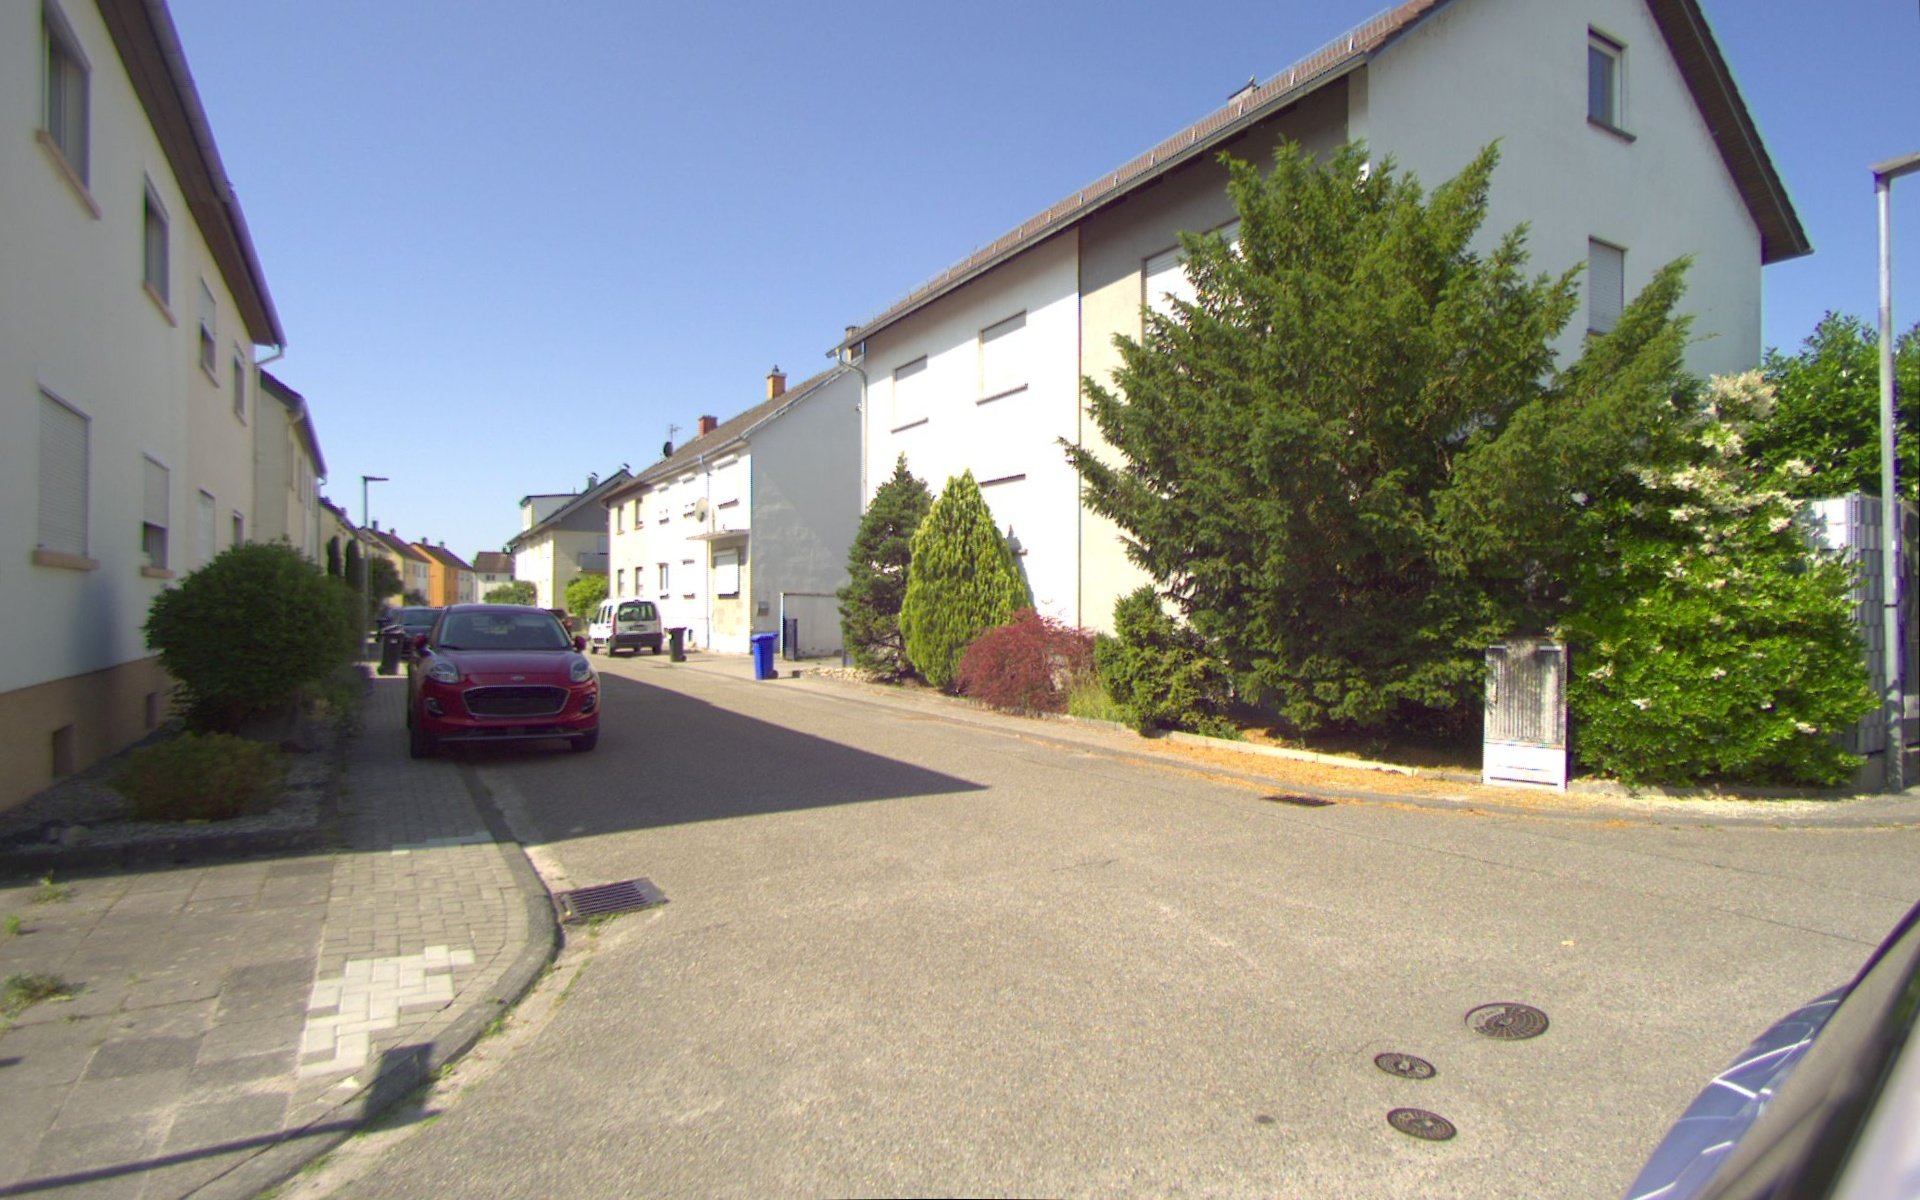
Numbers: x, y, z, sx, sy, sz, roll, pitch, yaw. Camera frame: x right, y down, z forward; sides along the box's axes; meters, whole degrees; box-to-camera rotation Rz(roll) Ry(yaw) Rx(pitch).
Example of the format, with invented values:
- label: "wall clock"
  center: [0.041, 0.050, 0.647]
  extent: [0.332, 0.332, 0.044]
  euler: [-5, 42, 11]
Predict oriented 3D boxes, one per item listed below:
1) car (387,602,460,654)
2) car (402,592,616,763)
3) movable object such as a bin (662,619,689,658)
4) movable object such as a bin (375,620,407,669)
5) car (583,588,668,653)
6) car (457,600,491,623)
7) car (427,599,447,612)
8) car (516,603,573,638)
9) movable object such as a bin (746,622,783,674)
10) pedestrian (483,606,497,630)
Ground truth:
- label: "car"
  center: [-16.117, 0.790, 30.310]
  extent: [1.761, 1.428, 4.002]
  euler: [0, 0, -31]
- label: "car"
  center: [-5.214, 0.715, 11.402]
  extent: [1.761, 1.549, 4.002]
  euler: [0, 0, -31]
- label: "movable object such as a bin"
  center: [-7.709, 1.028, 27.421]
  extent: [0.591, 1.043, 0.596]
  euler: [0, -1, -30]
- label: "movable object such as a bin"
  center: [-12.335, 0.952, 21.943]
  extent: [0.591, 1.043, 0.563]
  euler: [0, -1, -30]
- label: "car"
  center: [-10.610, 0.621, 31.923]
  extent: [1.760, 1.861, 4.003]
  euler: [-2, 0, -30]
- label: "car"
  center: [-35.030, 0.831, 72.940]
  extent: [1.893, 1.552, 4.003]
  euler: [-2, 0, -30]
- label: "car"
  center: [-57.194, 0.572, 110.660]
  extent: [1.760, 1.428, 4.005]
  euler: [0, 0, -25]
- label: "car"
  center: [-18.220, 0.869, 44.294]
  extent: [1.760, 1.399, 4.003]
  euler: [-2, 0, -30]
- label: "movable object such as a bin"
  center: [-4.053, 0.986, 20.965]
  extent: [0.591, 1.043, 0.596]
  euler: [0, -1, -30]
- label: "pedestrian"
  center: [-28.014, 1.051, 60.374]
  extent: [0.643, 1.400, 0.628]
  euler: [-2, 0, -33]
